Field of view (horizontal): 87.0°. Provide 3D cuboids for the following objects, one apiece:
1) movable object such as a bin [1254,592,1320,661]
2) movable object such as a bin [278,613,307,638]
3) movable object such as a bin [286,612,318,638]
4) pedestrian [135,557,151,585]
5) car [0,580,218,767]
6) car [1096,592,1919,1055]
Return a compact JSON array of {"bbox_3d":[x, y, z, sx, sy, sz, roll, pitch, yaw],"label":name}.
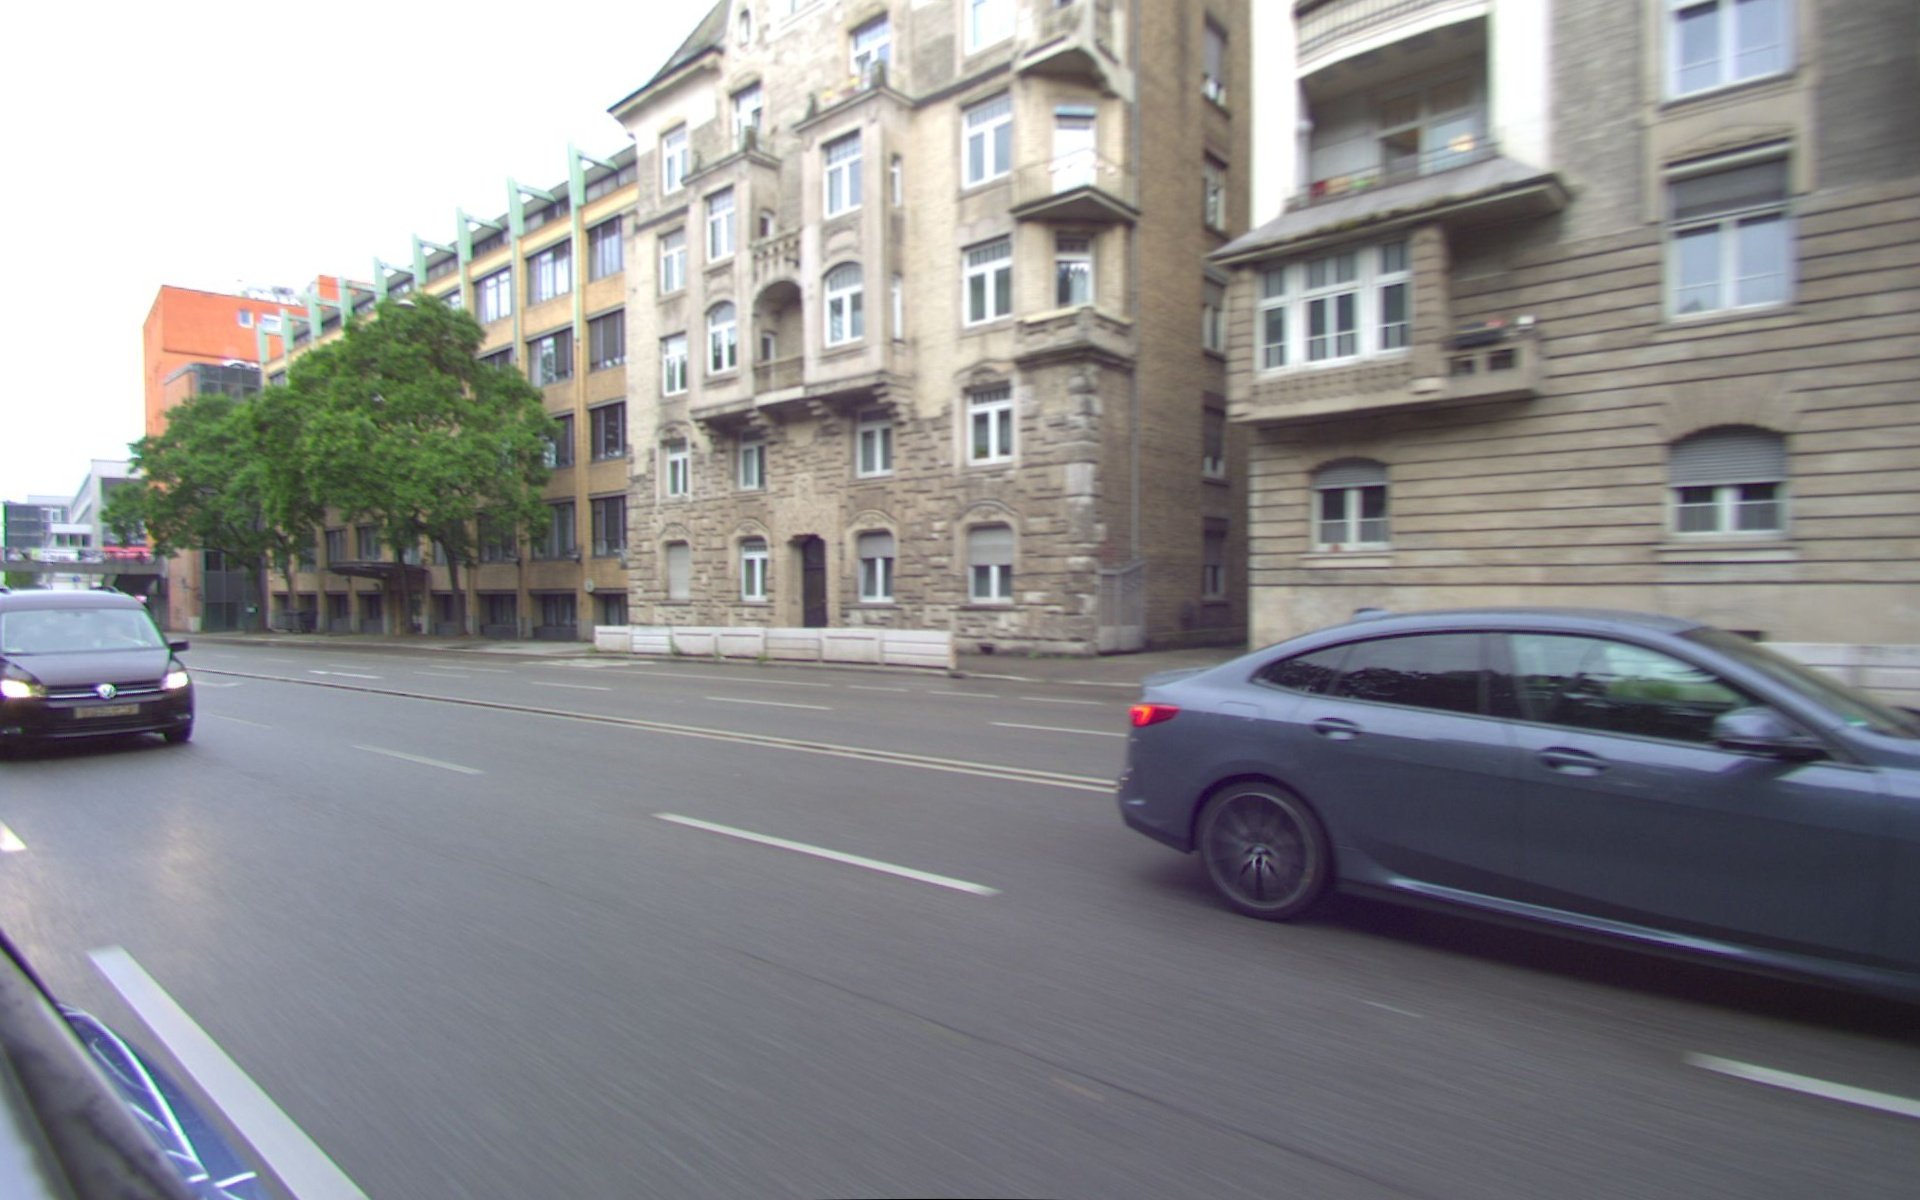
[{"bbox_3d":[7.219,0.581,22.333,1.021,1.445,1.015,-4,-3,39],"label":"movable object such as a bin"},{"bbox_3d":[-39.070,1.489,59.236,1.311,1.447,0.964,-2,1,35],"label":"movable object such as a bin"},{"bbox_3d":[-37.984,1.453,58.430,1.369,1.447,1.059,-2,1,35],"label":"movable object such as a bin"},{"bbox_3d":[-67.226,-2.368,83.270,0.737,2.271,0.823,0,-1,34],"label":"pedestrian"},{"bbox_3d":[-10.297,0.755,11.697,3.995,1.804,1.819,-2,-1,39],"label":"car"},{"bbox_3d":[2.943,0.698,4.229,4.536,1.425,1.648,-1,0,40],"label":"car"}]
